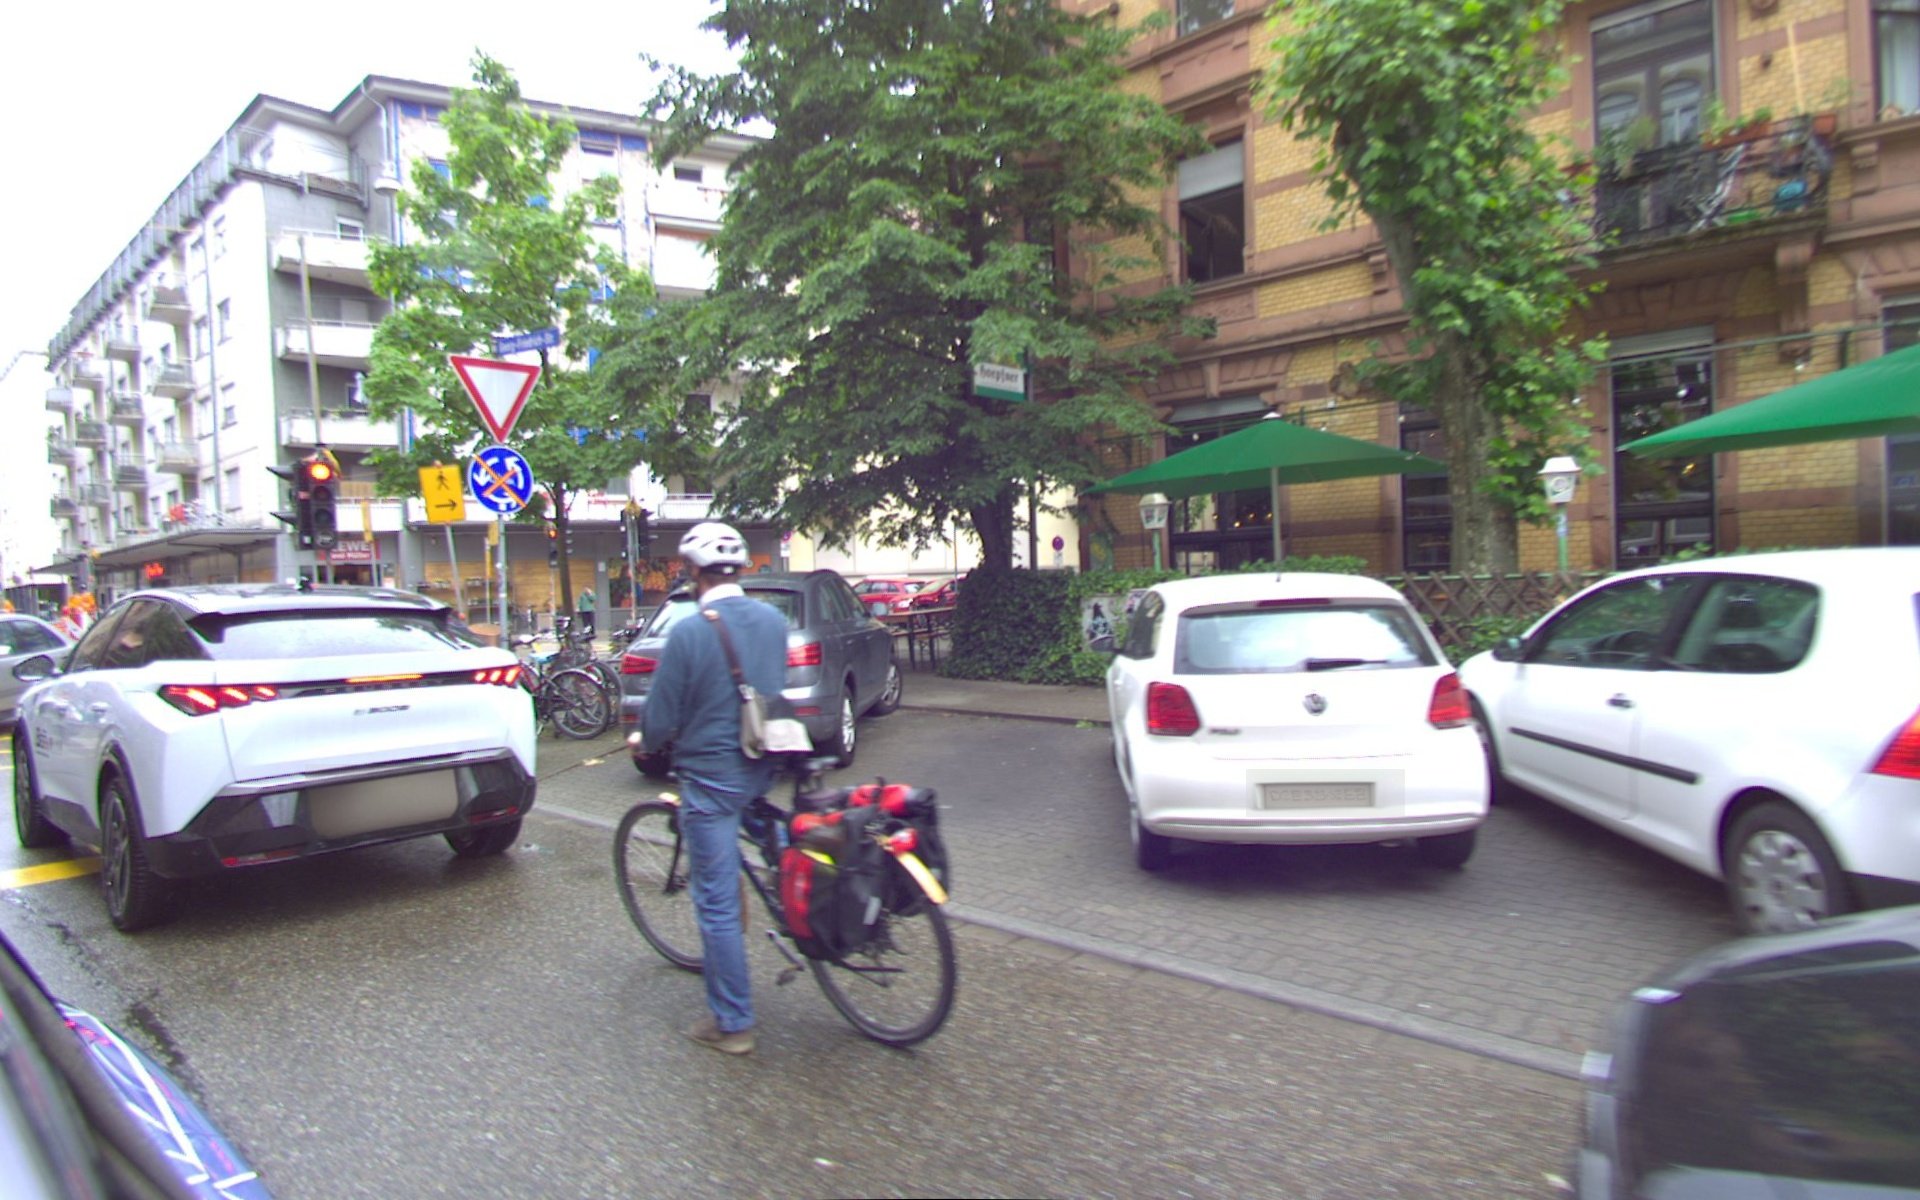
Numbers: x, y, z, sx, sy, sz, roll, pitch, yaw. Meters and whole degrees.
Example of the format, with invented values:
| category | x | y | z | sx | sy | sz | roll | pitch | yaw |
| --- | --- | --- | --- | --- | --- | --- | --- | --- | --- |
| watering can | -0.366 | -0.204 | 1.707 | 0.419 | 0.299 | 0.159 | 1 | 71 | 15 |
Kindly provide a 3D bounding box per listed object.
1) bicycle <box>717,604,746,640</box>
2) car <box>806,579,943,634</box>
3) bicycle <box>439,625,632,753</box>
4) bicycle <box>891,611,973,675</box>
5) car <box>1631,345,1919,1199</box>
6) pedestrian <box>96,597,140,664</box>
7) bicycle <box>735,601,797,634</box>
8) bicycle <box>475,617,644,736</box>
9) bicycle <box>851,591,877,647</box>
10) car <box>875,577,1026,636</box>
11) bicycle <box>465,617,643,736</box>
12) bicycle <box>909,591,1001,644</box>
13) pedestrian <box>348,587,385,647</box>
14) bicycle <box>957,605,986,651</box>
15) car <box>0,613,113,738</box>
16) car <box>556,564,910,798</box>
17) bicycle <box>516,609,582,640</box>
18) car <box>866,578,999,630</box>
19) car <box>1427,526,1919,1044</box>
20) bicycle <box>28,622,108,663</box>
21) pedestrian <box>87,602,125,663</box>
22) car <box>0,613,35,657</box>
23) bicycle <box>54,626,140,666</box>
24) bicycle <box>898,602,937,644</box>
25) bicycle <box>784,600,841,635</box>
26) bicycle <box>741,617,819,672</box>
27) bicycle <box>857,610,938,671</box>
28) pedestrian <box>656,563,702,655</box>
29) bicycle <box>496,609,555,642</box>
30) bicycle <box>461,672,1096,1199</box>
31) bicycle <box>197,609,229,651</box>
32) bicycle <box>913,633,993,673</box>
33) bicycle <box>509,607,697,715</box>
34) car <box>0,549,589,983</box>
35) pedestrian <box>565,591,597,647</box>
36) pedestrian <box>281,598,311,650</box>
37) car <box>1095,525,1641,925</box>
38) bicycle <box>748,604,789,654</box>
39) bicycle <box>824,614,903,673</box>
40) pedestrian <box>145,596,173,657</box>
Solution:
| category | x | y | z | sx | sy | sz | roll | pitch | yaw |
| --- | --- | --- | --- | --- | --- | --- | --- | --- | --- |
| bicycle | -7.136 | 0.673 | 31.531 | 0.579 | 0.978 | 2.008 | -3 | 3 | -20 |
| car | -2.996 | 0.234 | 34.946 | 4.449 | 1.693 | 1.976 | -2 | 1 | 36 |
| bicycle | -4.119 | 0.857 | 9.835 | 1.665 | 1.152 | 0.585 | -2 | 1 | 13 |
| bicycle | -0.390 | 0.600 | 14.660 | 0.405 | 0.821 | 1.378 | -1 | 1 | 36 |
| car | 2.754 | 0.578 | 0.275 | 4.135 | 1.505 | 1.777 | 1 | 0 | 40 |
| pedestrian | -24.834 | 0.894 | 29.856 | 0.707 | 1.911 | 0.606 | -3 | 1 | -14 |
| bicycle | -6.622 | 0.583 | 34.644 | 1.968 | 0.978 | 0.591 | -3 | 3 | -33 |
| bicycle | -4.092 | 0.778 | 10.337 | 1.667 | 1.152 | 0.397 | -2 | 1 | 16 |
| bicycle | -2.315 | 0.458 | 24.272 | 0.467 | 1.285 | 1.869 | -2 | -1 | -9 |
| car | -0.296 | 0.188 | 31.694 | 4.311 | 1.652 | 1.849 | -2 | -1 | -25 |
| bicycle | -4.338 | 0.814 | 10.802 | 1.860 | 1.194 | 0.397 | -2 | 1 | 16 |
| bicycle | -0.089 | 0.385 | 23.164 | 0.742 | 1.100 | 2.381 | -2 | 1 | 39 |
| pedestrian | -19.187 | 0.528 | 32.721 | 0.682 | 1.777 | 0.867 | -3 | 9 | -14 |
| bicycle | 0.236 | 0.527 | 19.948 | 0.400 | 0.821 | 1.543 | -2 | 1 | 6 |
| car | -12.070 | 0.924 | 11.617 | 1.829 | 1.409 | 4.995 | -2 | 1 | -18 |
| car | -1.713 | 0.507 | 9.338 | 1.974 | 1.575 | 4.453 | -1 | 3 | 4 |
| bicycle | -13.576 | 0.809 | 33.469 | 1.977 | 0.978 | 0.588 | -1 | 1 | 6 |
| car | -1.031 | 0.154 | 36.272 | 4.449 | 1.684 | 1.976 | -2 | 1 | 36 |
| car | 3.870 | 0.434 | 4.706 | 1.779 | 1.504 | 4.133 | -1 | 3 | 5 |
| bicycle | -31.086 | 1.469 | 35.295 | 2.004 | 1.204 | 0.551 | -7 | 3 | -44 |
| pedestrian | -27.034 | 1.020 | 32.030 | 0.850 | 1.862 | 0.770 | -3 | 1 | -41 |
| car | -42.477 | 1.574 | 44.531 | 3.993 | 1.803 | 1.879 | -2 | 1 | 37 |
| bicycle | -27.095 | 1.426 | 31.810 | 0.658 | 1.041 | 1.879 | -3 | 3 | 26 |
| bicycle | -1.067 | 0.558 | 24.932 | 0.580 | 0.968 | 1.728 | -2 | 1 | -14 |
| bicycle | -4.753 | 0.559 | 32.773 | 0.588 | 0.978 | 1.978 | 0 | 3 | 35 |
| bicycle | -3.016 | 0.741 | 17.067 | 0.405 | 0.821 | 1.378 | -2 | 1 | 36 |
| bicycle | -0.923 | 0.589 | 15.210 | 0.405 | 0.821 | 1.378 | -2 | 1 | 36 |
| pedestrian | -6.421 | 0.204 | 23.164 | 0.929 | 2.029 | 0.866 | -3 | 1 | -14 |
| bicycle | -14.046 | 0.837 | 32.732 | 1.671 | 0.978 | 0.567 | -2 | 1 | 6 |
| bicycle | -0.739 | 0.867 | 3.364 | 2.267 | 1.189 | 0.762 | -3 | -1 | 39 |
| bicycle | -26.059 | 1.047 | 35.296 | 2.023 | 1.383 | 0.444 | -2 | 3 | 43 |
| bicycle | -0.085 | 0.748 | 14.500 | 0.405 | 0.456 | 1.378 | -1 | 1 | 36 |
| bicycle | -4.118 | 0.693 | 11.713 | 1.912 | 1.152 | 0.774 | -2 | 1 | 13 |
| car | -4.459 | 0.702 | 6.236 | 5.004 | 1.673 | 1.840 | -2 | -1 | 40 |
| pedestrian | -11.303 | 0.555 | 30.210 | 0.786 | 1.627 | 0.606 | -3 | 1 | -14 |
| pedestrian | -21.134 | 0.751 | 32.232 | 0.536 | 1.596 | 0.696 | -2 | 1 | -14 |
| car | 1.979 | 0.436 | 6.542 | 1.976 | 1.574 | 4.717 | -4 | 2 | 6 |
| bicycle | -4.433 | 0.665 | 23.545 | 0.852 | 1.052 | 2.418 | -2 | -1 | -9 |
| bicycle | -1.493 | 0.666 | 15.828 | 0.405 | 0.821 | 1.378 | -2 | 1 | 36 |
| pedestrian | -25.363 | 0.837 | 32.049 | 0.595 | 1.862 | 0.770 | -3 | 1 | -41 |
